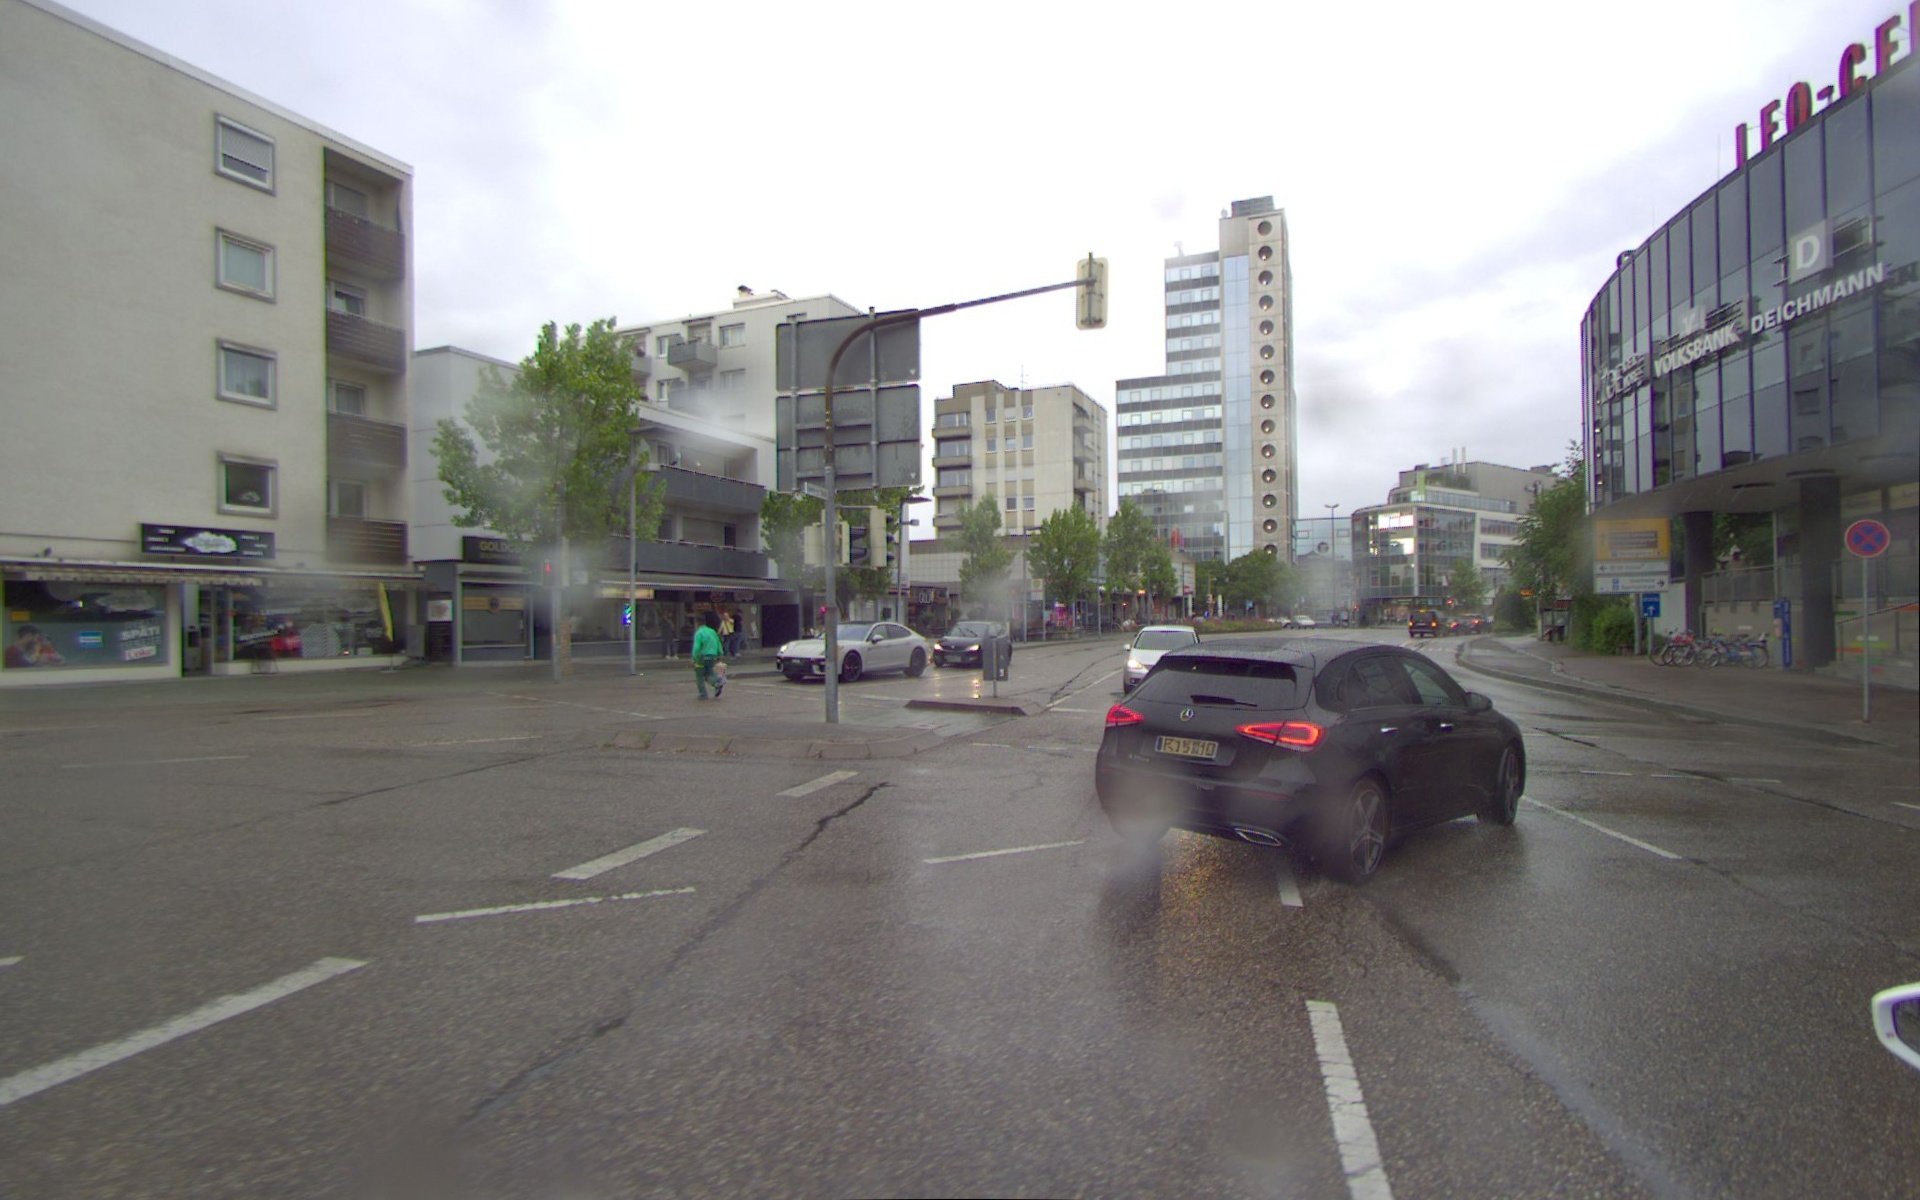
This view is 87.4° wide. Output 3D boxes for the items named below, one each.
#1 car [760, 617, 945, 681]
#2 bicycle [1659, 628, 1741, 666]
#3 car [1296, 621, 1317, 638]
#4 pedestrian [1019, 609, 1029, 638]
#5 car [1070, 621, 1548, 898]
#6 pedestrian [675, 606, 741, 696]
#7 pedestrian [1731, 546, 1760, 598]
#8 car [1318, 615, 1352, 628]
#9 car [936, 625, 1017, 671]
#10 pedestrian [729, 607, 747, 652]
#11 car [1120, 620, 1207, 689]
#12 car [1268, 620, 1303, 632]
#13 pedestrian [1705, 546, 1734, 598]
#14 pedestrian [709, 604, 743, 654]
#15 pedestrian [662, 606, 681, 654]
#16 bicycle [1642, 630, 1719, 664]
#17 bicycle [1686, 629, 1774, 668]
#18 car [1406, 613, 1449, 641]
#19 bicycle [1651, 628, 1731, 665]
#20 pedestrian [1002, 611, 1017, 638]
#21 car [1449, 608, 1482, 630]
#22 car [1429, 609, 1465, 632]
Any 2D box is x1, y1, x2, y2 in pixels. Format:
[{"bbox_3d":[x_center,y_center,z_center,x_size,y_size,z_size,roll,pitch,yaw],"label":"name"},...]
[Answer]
[{"bbox_3d":[-2.625,1.198,25.883,2.086,1.432,5.135,1,-1,30],"label":"car"},{"bbox_3d":[22.024,1.397,29.928,1.819,1.056,0.647,-3,-2,20],"label":"bicycle"},{"bbox_3d":[36.137,3.100,104.736,1.666,1.654,3.508,-1,0,25],"label":"car"},{"bbox_3d":[3.861,1.427,60.983,0.479,1.741,0.538,0,0,18],"label":"pedestrian"},{"bbox_3d":[2.773,0.944,7.447,4.065,1.501,1.647,2,-3,-43],"label":"car"},{"bbox_3d":[-4.730,0.944,18.876,0.798,1.645,0.946,-1,-2,44],"label":"pedestrian"},{"bbox_3d":[26.491,-0.945,33.884,0.642,1.736,0.599,0,1,25],"label":"pedestrian"},{"bbox_3d":[45.296,2.634,121.356,3.816,1.538,1.785,-1,0,20],"label":"car"},{"bbox_3d":[0.582,1.486,32.011,1.412,1.314,3.776,0,0,20],"label":"car"},{"bbox_3d":[-8.957,1.187,40.541,0.557,1.817,0.491,-1,-1,27],"label":"pedestrian"},{"bbox_3d":[4.851,1.203,23.566,1.711,1.460,3.994,0,-1,16],"label":"car"},{"bbox_3d":[39.105,3.171,120.581,3.921,1.402,1.728,-1,0,19],"label":"car"},{"bbox_3d":[25.896,-0.948,34.254,0.642,1.736,0.599,0,1,25],"label":"pedestrian"},{"bbox_3d":[-8.718,1.081,37.477,0.857,1.835,0.925,0,-1,21],"label":"pedestrian"},{"bbox_3d":[-10.587,1.089,36.845,0.440,1.747,0.500,-1,-1,19],"label":"pedestrian"},{"bbox_3d":[22.425,1.473,31.302,1.819,0.964,0.536,-4,-1,23],"label":"bicycle"},{"bbox_3d":[21.618,1.374,28.240,1.818,1.036,0.632,-3,-2,20],"label":"bicycle"},{"bbox_3d":[34.308,1.965,73.683,2.017,1.921,4.122,-1,0,37],"label":"car"},{"bbox_3d":[22.246,1.408,30.602,1.819,1.047,0.629,-3,-2,20],"label":"bicycle"},{"bbox_3d":[3.026,1.492,60.863,0.781,1.592,0.637,0,0,14],"label":"pedestrian"},{"bbox_3d":[42.792,1.613,85.026,1.885,1.748,3.795,-1,0,36],"label":"car"},{"bbox_3d":[38.628,1.607,79.631,1.862,1.694,3.986,-1,0,36],"label":"car"}]
